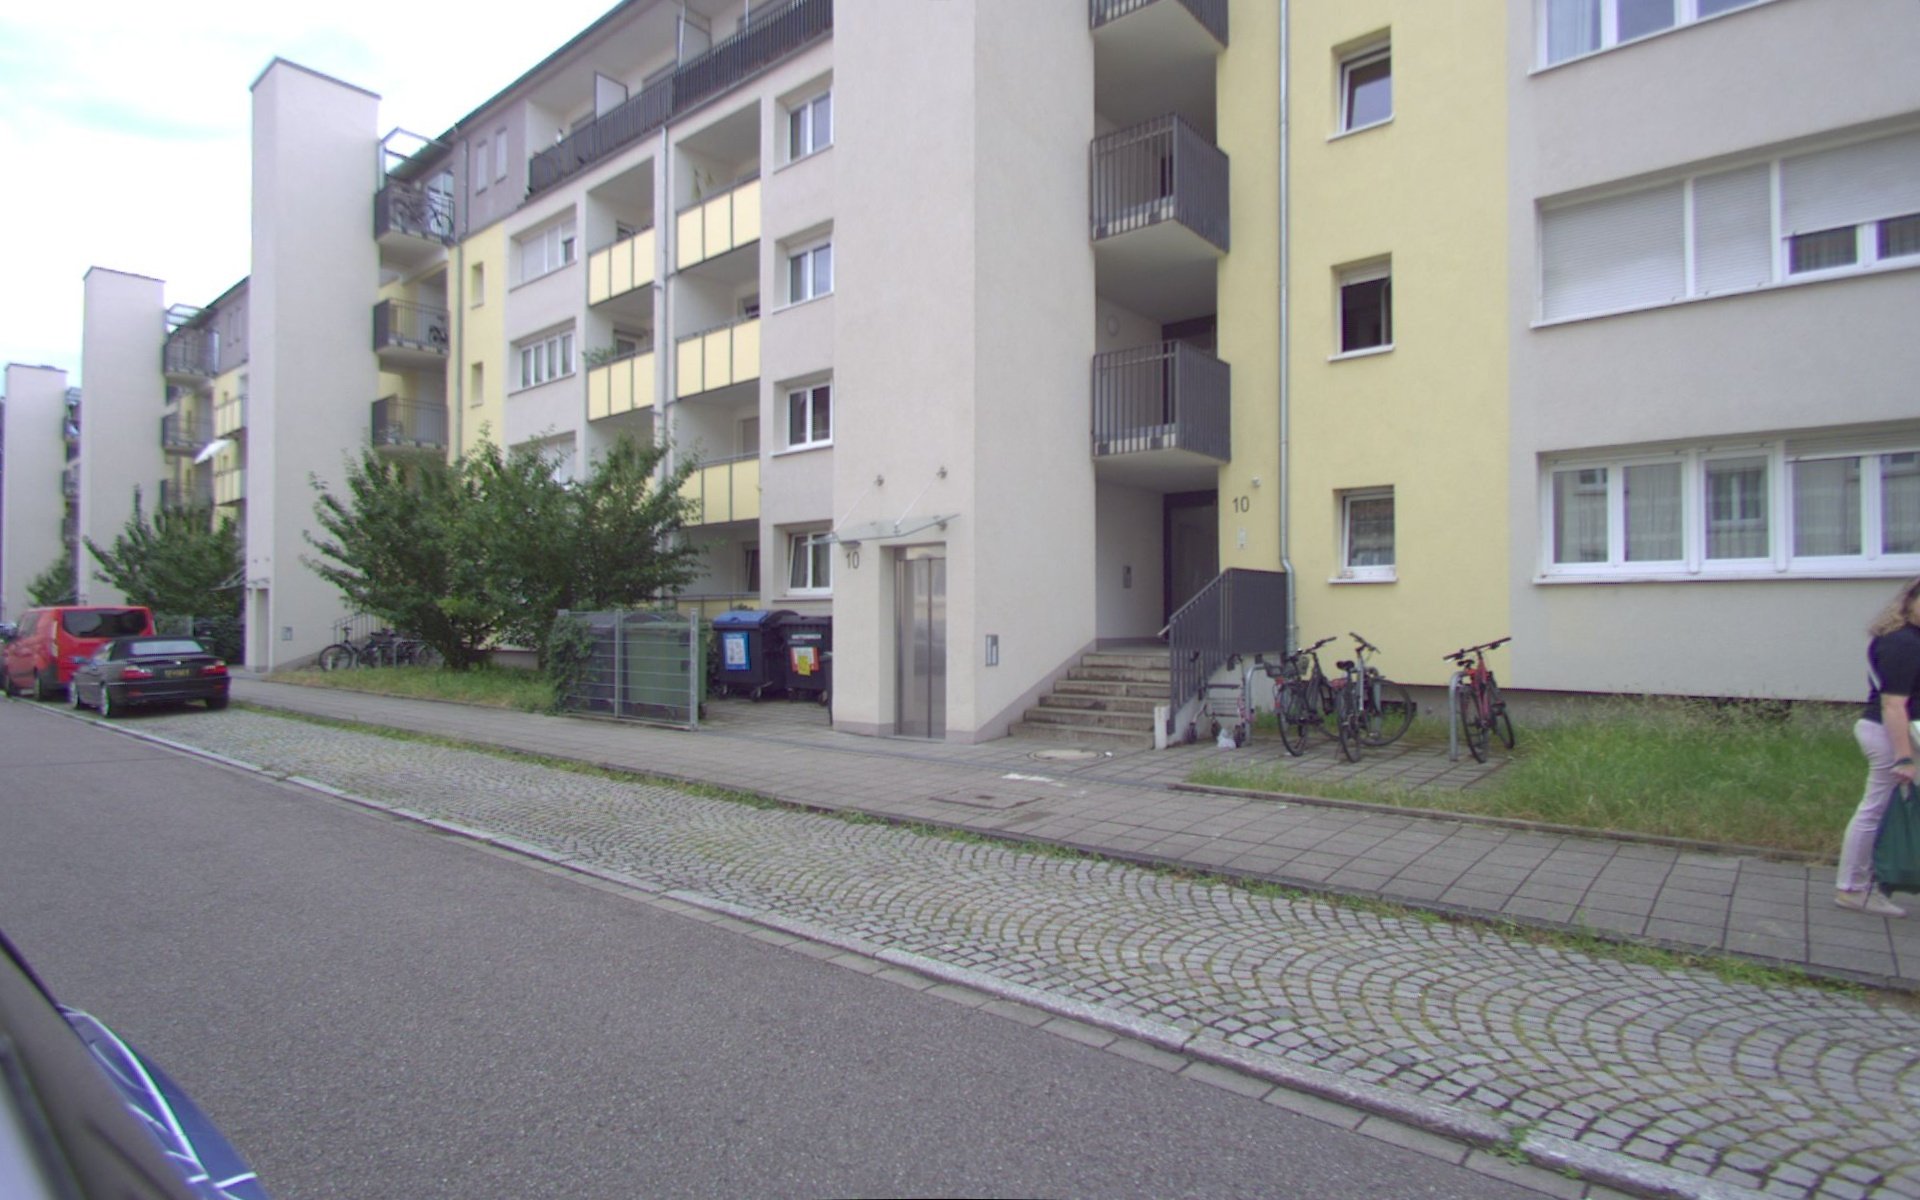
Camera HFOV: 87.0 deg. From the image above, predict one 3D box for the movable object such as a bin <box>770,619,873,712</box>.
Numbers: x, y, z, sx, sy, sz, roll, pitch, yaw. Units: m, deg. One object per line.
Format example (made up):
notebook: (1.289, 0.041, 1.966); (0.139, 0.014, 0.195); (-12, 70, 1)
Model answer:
movable object such as a bin: (-2.141, 0.973, 15.637); (1.287, 1.350, 0.969); (-1, -1, 40)

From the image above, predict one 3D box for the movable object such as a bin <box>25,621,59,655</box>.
movable object such as a bin: (-41.377, 1.705, 45.628); (1.313, 1.512, 0.991); (-1, -1, 41)

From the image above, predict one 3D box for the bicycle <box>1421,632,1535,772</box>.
bicycle: (4.917, 0.894, 9.538); (0.622, 1.150, 2.004); (-1, -1, 37)

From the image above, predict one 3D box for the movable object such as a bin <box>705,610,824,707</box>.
movable object such as a bin: (-3.203, 0.914, 16.584); (1.370, 1.475, 1.339); (-1, -1, 39)

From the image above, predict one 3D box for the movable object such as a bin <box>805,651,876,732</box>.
movable object such as a bin: (-1.537, 1.161, 13.007); (0.651, 0.972, 0.629); (-1, -2, 40)

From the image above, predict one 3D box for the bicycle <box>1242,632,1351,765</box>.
bicycle: (3.368, 0.909, 10.014); (0.621, 1.150, 2.008); (-1, -1, 30)

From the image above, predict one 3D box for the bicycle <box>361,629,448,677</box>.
bicycle: (-13.798, 1.286, 25.152); (1.813, 1.127, 0.571); (0, -2, -44)

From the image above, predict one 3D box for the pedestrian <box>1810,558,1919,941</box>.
pedestrian: (4.459, 0.634, 4.503); (0.945, 1.622, 0.792); (-1, -1, 36)

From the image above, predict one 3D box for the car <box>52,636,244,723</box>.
car: (-14.755, 1.344, 18.312); (4.357, 1.333, 1.852); (-1, -1, 39)

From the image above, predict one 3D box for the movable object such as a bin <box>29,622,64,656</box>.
movable object such as a bin: (-40.374, 1.713, 44.739); (1.313, 1.458, 0.991); (-1, -1, 41)

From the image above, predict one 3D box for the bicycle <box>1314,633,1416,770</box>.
bicycle: (3.920, 0.903, 9.704); (0.621, 1.150, 2.008); (-1, -1, 30)

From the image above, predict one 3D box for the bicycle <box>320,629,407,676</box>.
bicycle: (-15.276, 1.318, 25.951); (0.604, 1.127, 1.817); (-1, -1, 39)

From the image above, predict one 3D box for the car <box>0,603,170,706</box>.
car: (-19.388, 1.110, 22.195); (4.915, 1.968, 2.131); (-1, 0, 38)

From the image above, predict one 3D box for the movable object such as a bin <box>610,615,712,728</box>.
movable object such as a bin: (-4.071, 0.937, 13.738); (1.288, 1.440, 0.794); (-1, -1, 44)

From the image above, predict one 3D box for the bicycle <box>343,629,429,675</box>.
bicycle: (-14.575, 1.302, 25.743); (0.570, 1.127, 1.815); (-2, -2, 42)

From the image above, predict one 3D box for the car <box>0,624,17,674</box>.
car: (-31.867, 1.581, 32.772); (3.894, 1.542, 1.635); (-1, 0, 43)

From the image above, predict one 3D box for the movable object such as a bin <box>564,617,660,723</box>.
movable object such as a bin: (-5.026, 0.972, 14.608); (1.288, 1.440, 0.795); (-1, -1, 43)
